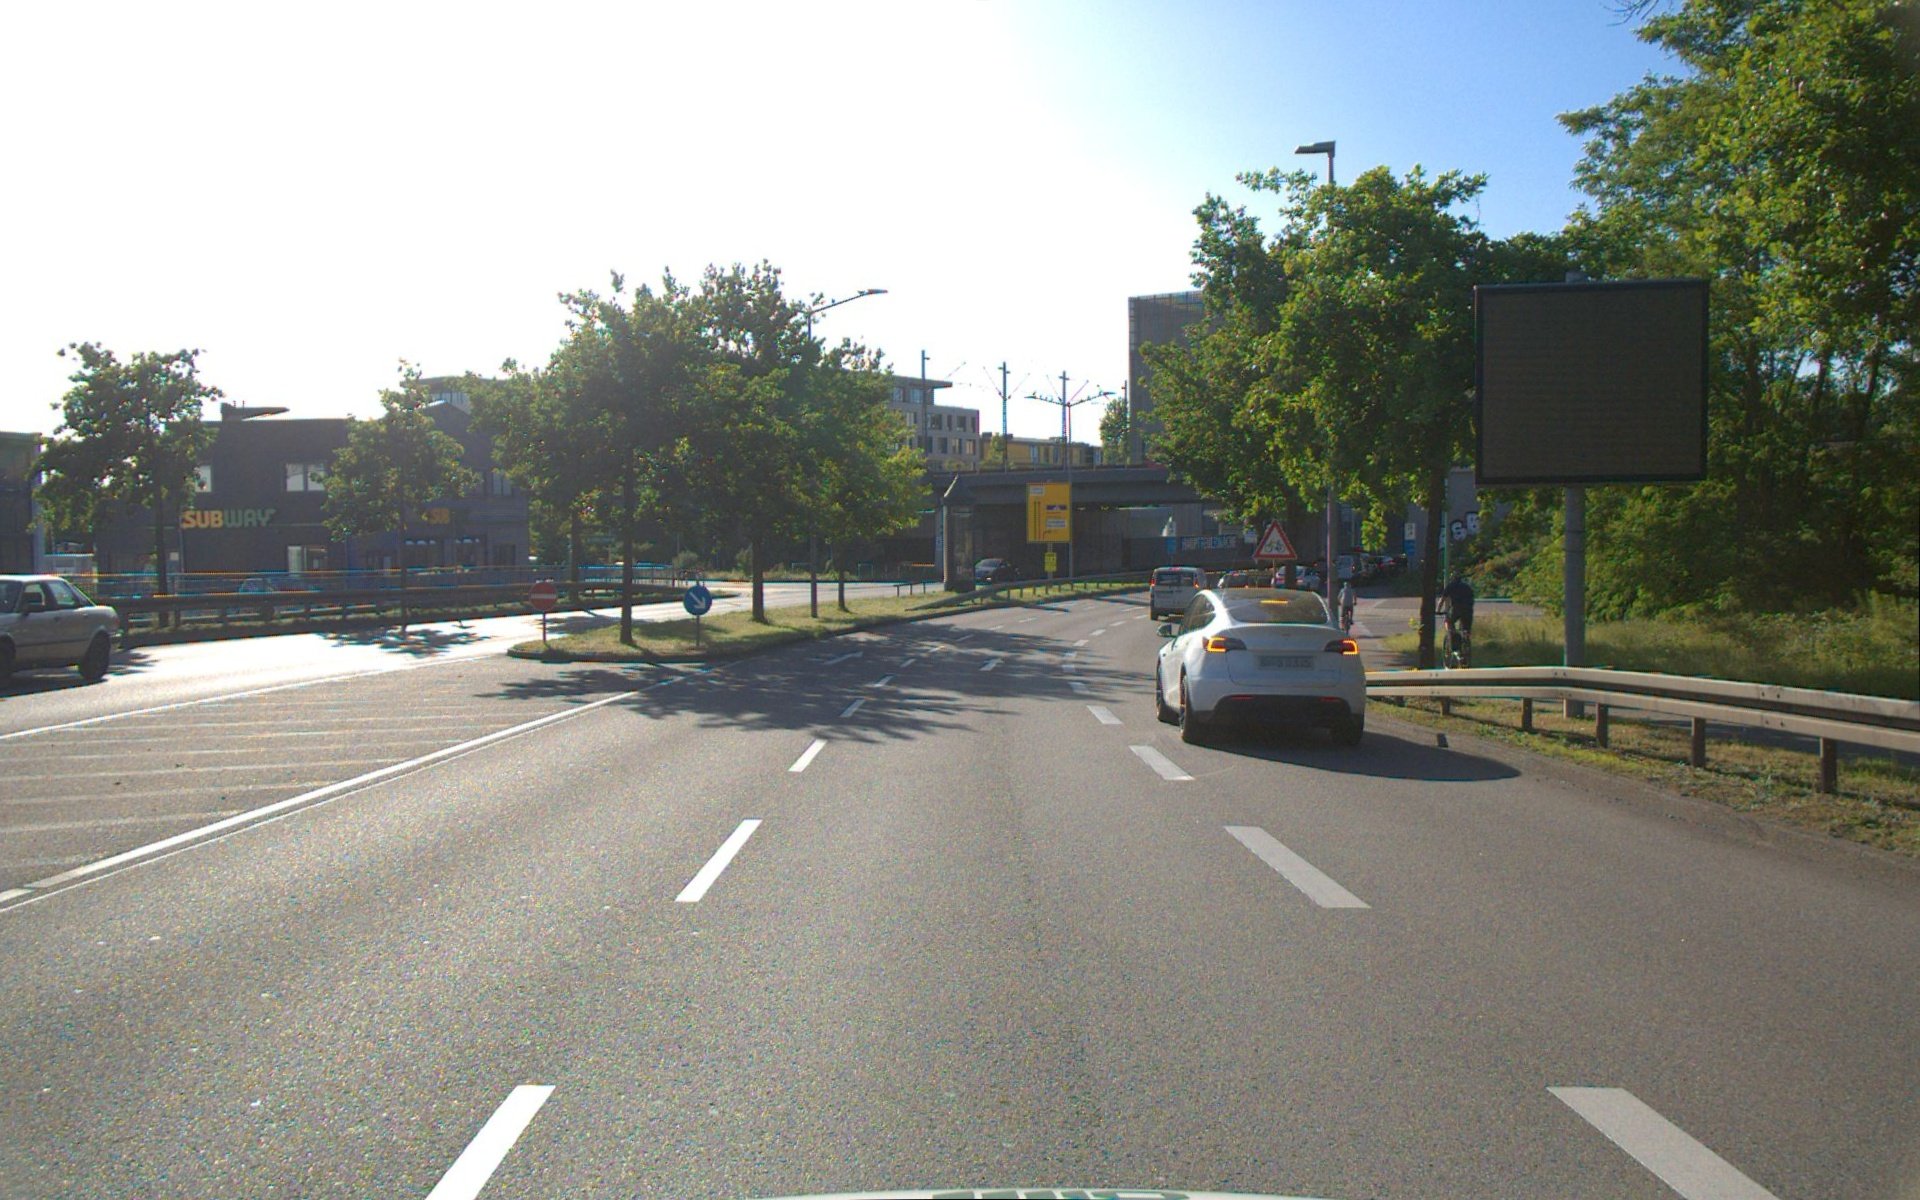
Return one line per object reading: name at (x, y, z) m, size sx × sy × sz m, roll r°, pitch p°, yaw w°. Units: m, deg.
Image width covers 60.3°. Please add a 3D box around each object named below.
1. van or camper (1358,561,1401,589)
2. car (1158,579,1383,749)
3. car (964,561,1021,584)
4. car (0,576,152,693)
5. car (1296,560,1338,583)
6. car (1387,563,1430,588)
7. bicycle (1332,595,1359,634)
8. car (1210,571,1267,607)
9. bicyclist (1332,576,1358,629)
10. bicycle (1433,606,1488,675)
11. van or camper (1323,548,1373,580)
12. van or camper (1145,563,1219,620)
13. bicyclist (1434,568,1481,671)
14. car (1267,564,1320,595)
van or camper at (29.284, -1.735, 115.456) m, size 1.723 × 1.845 × 3.948 m, roll 1°, pitch 3°, yaw 33°
car at (3.350, 0.614, 18.655) m, size 1.874 × 1.669 × 4.412 m, roll -1°, pitch 1°, yaw 3°
car at (1.971, -1.639, 98.680) m, size 1.764 × 1.333 × 4.614 m, roll 1°, pitch 1°, yaw 24°
car at (-12.596, 0.401, 21.839) m, size 1.694 × 1.409 × 4.496 m, roll 1°, pitch 1°, yaw -1°
car at (25.173, -2.012, 116.502) m, size 1.677 × 1.477 × 3.733 m, roll 1°, pitch 3°, yaw 32°
car at (29.629, -1.631, 109.207) m, size 1.677 × 1.549 × 3.733 m, roll 1°, pitch 3°, yaw 32°
bicycle at (12.335, 0.455, 52.850) m, size 0.727 × 1.131 × 2.453 m, roll -2°, pitch 1°, yaw 15°
car at (12.846, -0.536, 76.063) m, size 1.573 × 1.459 × 3.676 m, roll 2°, pitch 3°, yaw 26°
bicyclist at (12.309, 0.074, 52.850) m, size 0.730 × 1.647 × 0.913 m, roll -2°, pitch 1°, yaw 16°
bicycle at (8.914, 0.706, 29.521) m, size 0.680 × 1.114 × 2.120 m, roll -2°, pitch 1°, yaw 10°
van or camper at (23.243, -2.194, 99.057) m, size 1.791 × 1.822 × 4.539 m, roll 2°, pitch 3°, yaw 28°
van or camper at (8.224, -0.356, 60.842) m, size 1.917 × 1.916 × 4.883 m, roll 1°, pitch 2°, yaw 17°
bicyclist at (8.962, 0.333, 29.798) m, size 0.661 × 1.807 × 0.949 m, roll -2°, pitch 1°, yaw 10°
car at (17.451, -1.093, 86.392) m, size 1.728 × 1.501 × 4.286 m, roll 1°, pitch 2°, yaw 25°
